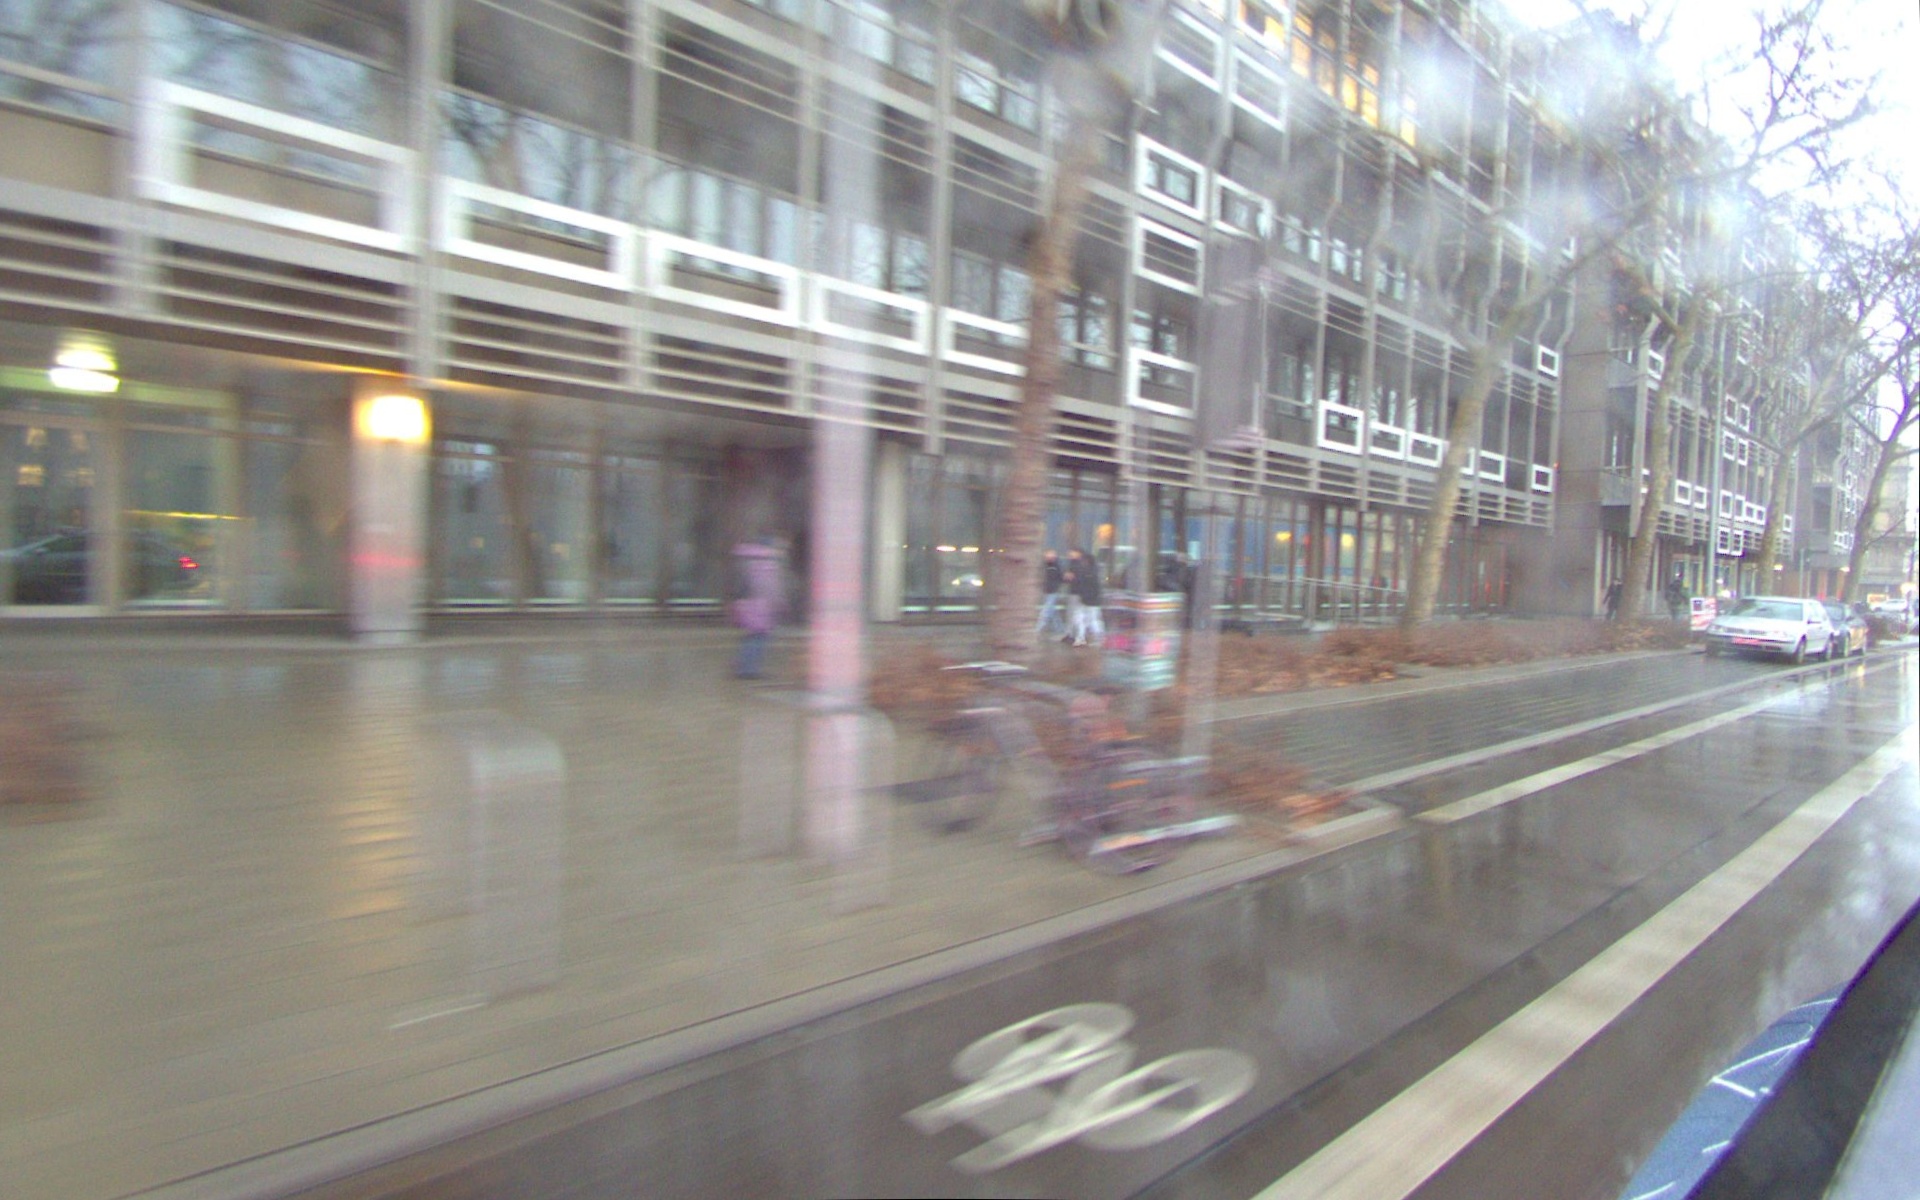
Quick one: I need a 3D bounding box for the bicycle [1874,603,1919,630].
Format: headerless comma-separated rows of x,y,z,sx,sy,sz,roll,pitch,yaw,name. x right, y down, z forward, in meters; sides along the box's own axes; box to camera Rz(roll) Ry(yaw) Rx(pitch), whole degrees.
38.173,0.675,41.107,1.519,1.049,0.462,2,2,44,bicycle

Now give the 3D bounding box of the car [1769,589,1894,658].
22.335,0.554,25.882,3.947,1.567,1.764,0,3,-40,car

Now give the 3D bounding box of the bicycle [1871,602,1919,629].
38.752,0.638,41.879,1.519,1.049,0.462,2,2,44,bicycle

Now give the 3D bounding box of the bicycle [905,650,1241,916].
0.530,0.871,5.430,0.607,0.985,1.790,0,4,-43,bicycle

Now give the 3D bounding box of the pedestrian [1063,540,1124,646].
2.200,-0.124,16.666,0.857,1.688,0.501,0,2,-39,pedestrian

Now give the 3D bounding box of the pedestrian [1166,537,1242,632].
4.066,-0.269,16.905,0.823,1.542,0.866,0,2,-39,pedestrian

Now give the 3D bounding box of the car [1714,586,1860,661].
18.795,0.480,22.966,3.857,1.449,1.610,0,5,-37,car

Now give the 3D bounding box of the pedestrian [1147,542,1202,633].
4.189,-0.253,19.767,0.829,1.739,0.659,0,2,-44,pedestrian

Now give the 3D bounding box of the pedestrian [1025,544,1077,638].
1.580,-0.166,17.568,0.732,1.583,0.484,0,2,-40,pedestrian

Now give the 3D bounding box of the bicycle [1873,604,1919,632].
36.861,0.706,39.687,1.519,1.049,0.462,2,2,44,bicycle

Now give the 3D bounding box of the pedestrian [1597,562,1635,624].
22.173,-0.253,34.209,0.723,2.038,0.822,1,2,-41,pedestrian

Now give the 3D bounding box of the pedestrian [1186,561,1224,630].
5.125,-0.104,21.171,0.705,1.406,0.561,2,2,16,pedestrian

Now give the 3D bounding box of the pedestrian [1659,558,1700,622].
23.440,-0.322,32.975,1.006,2.038,0.791,1,2,-40,pedestrian

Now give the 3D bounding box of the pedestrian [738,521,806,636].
-2.830,-0.324,15.214,0.766,1.676,0.617,0,2,-39,pedestrian

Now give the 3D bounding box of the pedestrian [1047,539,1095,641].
1.880,-0.176,17.095,0.700,1.688,0.379,0,2,-39,pedestrian

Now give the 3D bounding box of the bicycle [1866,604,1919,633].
35.606,0.704,38.627,1.519,1.049,0.462,2,2,44,bicycle

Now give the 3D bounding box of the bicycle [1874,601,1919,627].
39.817,0.593,42.955,1.519,1.049,0.462,2,2,44,bicycle

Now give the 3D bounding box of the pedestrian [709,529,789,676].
-2.333,0.010,11.185,0.604,1.563,0.650,0,2,-38,pedestrian

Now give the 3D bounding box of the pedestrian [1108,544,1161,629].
3.553,-0.289,20.587,0.829,1.675,0.640,0,2,-44,pedestrian
